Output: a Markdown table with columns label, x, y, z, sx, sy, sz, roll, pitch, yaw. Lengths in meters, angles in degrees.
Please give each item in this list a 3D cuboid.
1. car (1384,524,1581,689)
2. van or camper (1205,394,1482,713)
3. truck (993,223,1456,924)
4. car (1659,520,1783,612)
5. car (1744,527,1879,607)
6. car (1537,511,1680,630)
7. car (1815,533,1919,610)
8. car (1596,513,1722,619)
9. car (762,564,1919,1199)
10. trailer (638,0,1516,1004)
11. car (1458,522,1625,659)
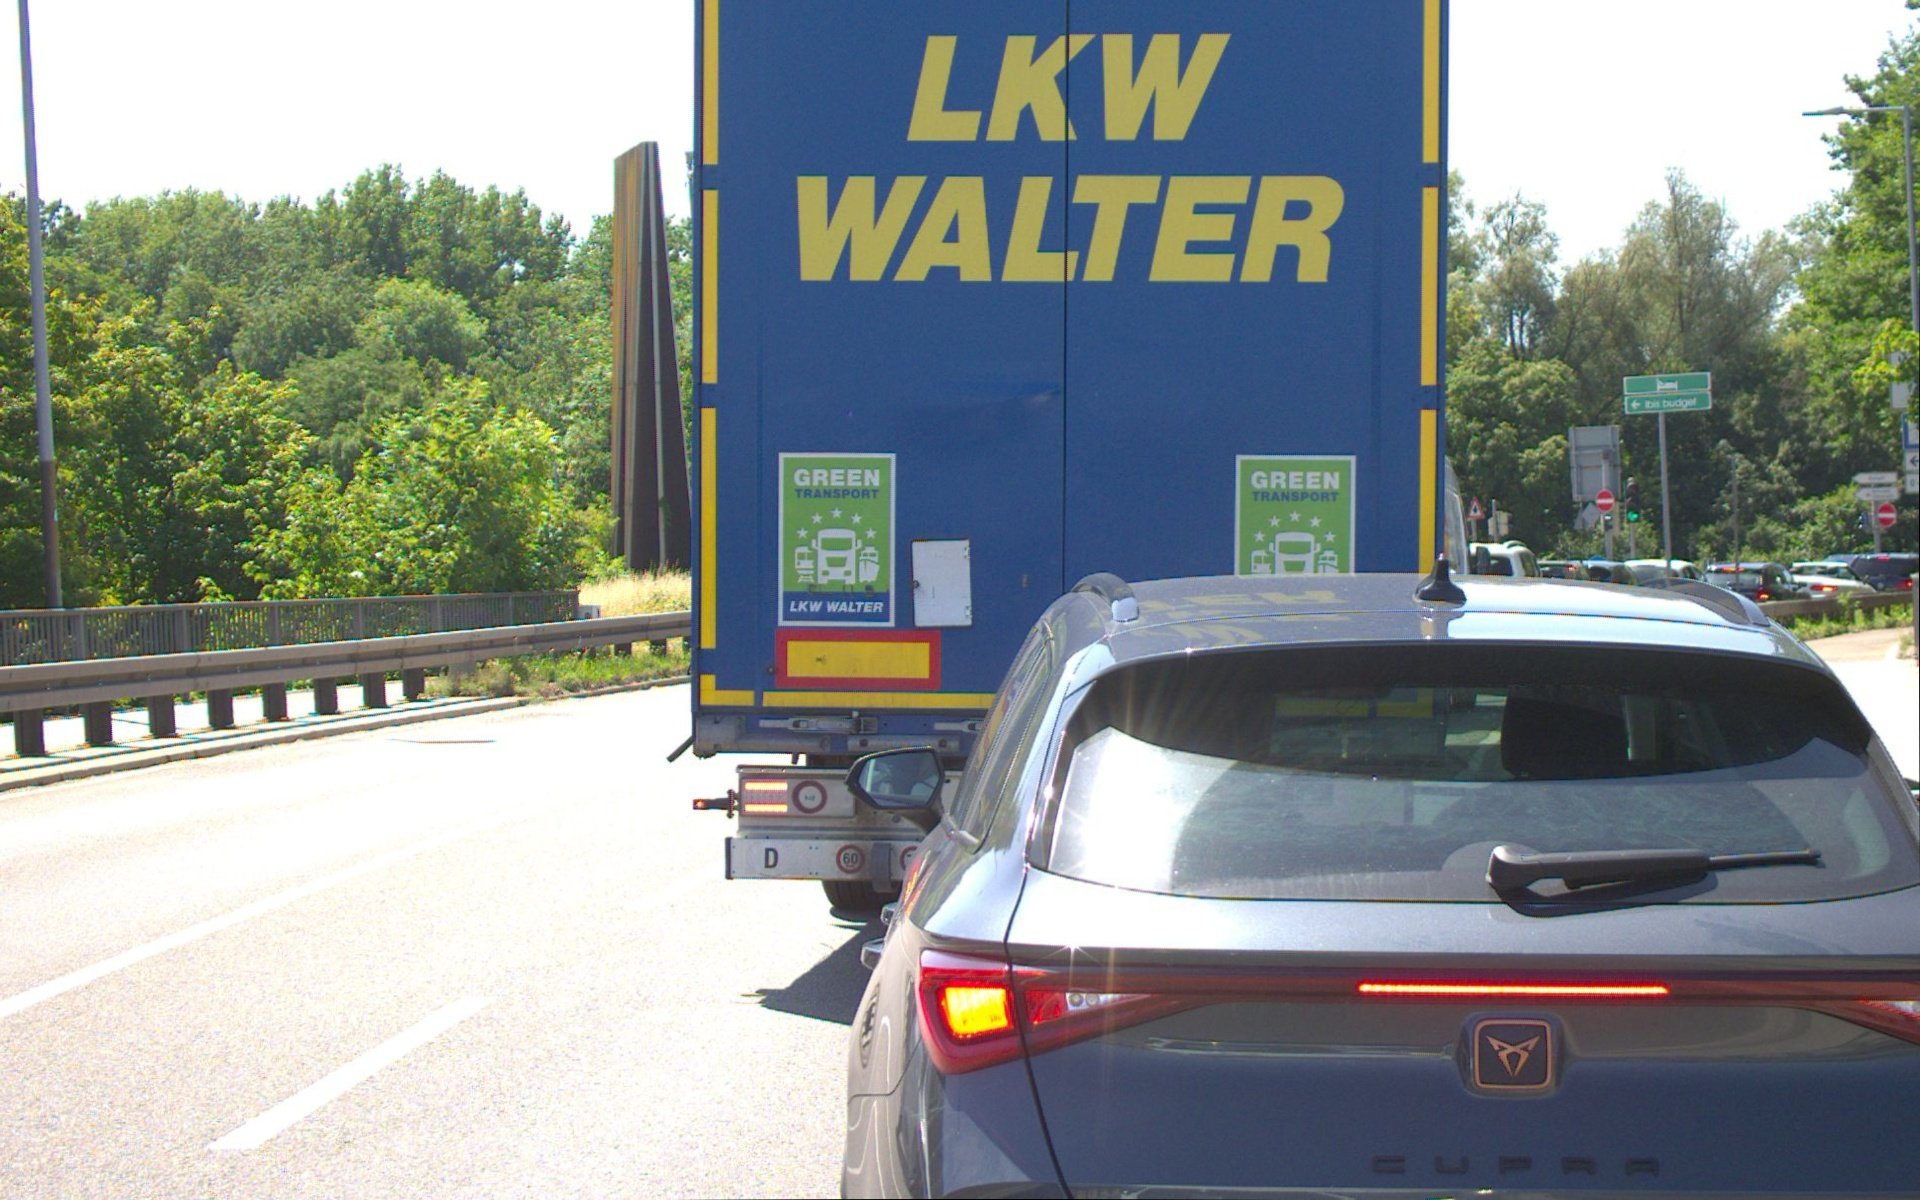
| label | x | y | z | sx | sy | sz | roll | pitch | yaw |
| --- | --- | --- | --- | --- | --- | --- | --- | --- | --- |
| car | 6.275 | 0.029 | 40.995 | 1.722 | 1.837 | 3.997 | 0 | 2 | 18 |
| van or camper | 3.864 | -0.469 | 33.612 | 2.155 | 2.806 | 6.384 | 0 | 1 | 11 |
| truck | 2.079 | -0.233 | 25.047 | 2.905 | 4.403 | 6.554 | 0 | 1 | 7 |
| car | 15.109 | -0.659 | 68.154 | 1.687 | 1.754 | 3.995 | 0 | 0 | 23 |
| car | 18.452 | -0.698 | 74.405 | 1.996 | 1.570 | 3.994 | 2 | 0 | 26 |
| car | 10.456 | -0.493 | 55.242 | 1.722 | 1.837 | 3.996 | 0 | 1 | 19 |
| car | 21.349 | -0.664 | 80.363 | 1.688 | 1.754 | 3.994 | 0 | 0 | 28 |
| car | 12.528 | -0.629 | 61.501 | 1.722 | 1.837 | 3.996 | 0 | 1 | 19 |
| car | 0.670 | 0.673 | 5.934 | 1.677 | 1.451 | 3.958 | 0 | 1 | 2 |
| trailer | 1.137 | -1.004 | 17.556 | 2.905 | 4.403 | 12.430 | 0 | 1 | 7 |
| car | 8.036 | -0.164 | 47.312 | 1.722 | 1.796 | 3.997 | 0 | 1 | 18 |
